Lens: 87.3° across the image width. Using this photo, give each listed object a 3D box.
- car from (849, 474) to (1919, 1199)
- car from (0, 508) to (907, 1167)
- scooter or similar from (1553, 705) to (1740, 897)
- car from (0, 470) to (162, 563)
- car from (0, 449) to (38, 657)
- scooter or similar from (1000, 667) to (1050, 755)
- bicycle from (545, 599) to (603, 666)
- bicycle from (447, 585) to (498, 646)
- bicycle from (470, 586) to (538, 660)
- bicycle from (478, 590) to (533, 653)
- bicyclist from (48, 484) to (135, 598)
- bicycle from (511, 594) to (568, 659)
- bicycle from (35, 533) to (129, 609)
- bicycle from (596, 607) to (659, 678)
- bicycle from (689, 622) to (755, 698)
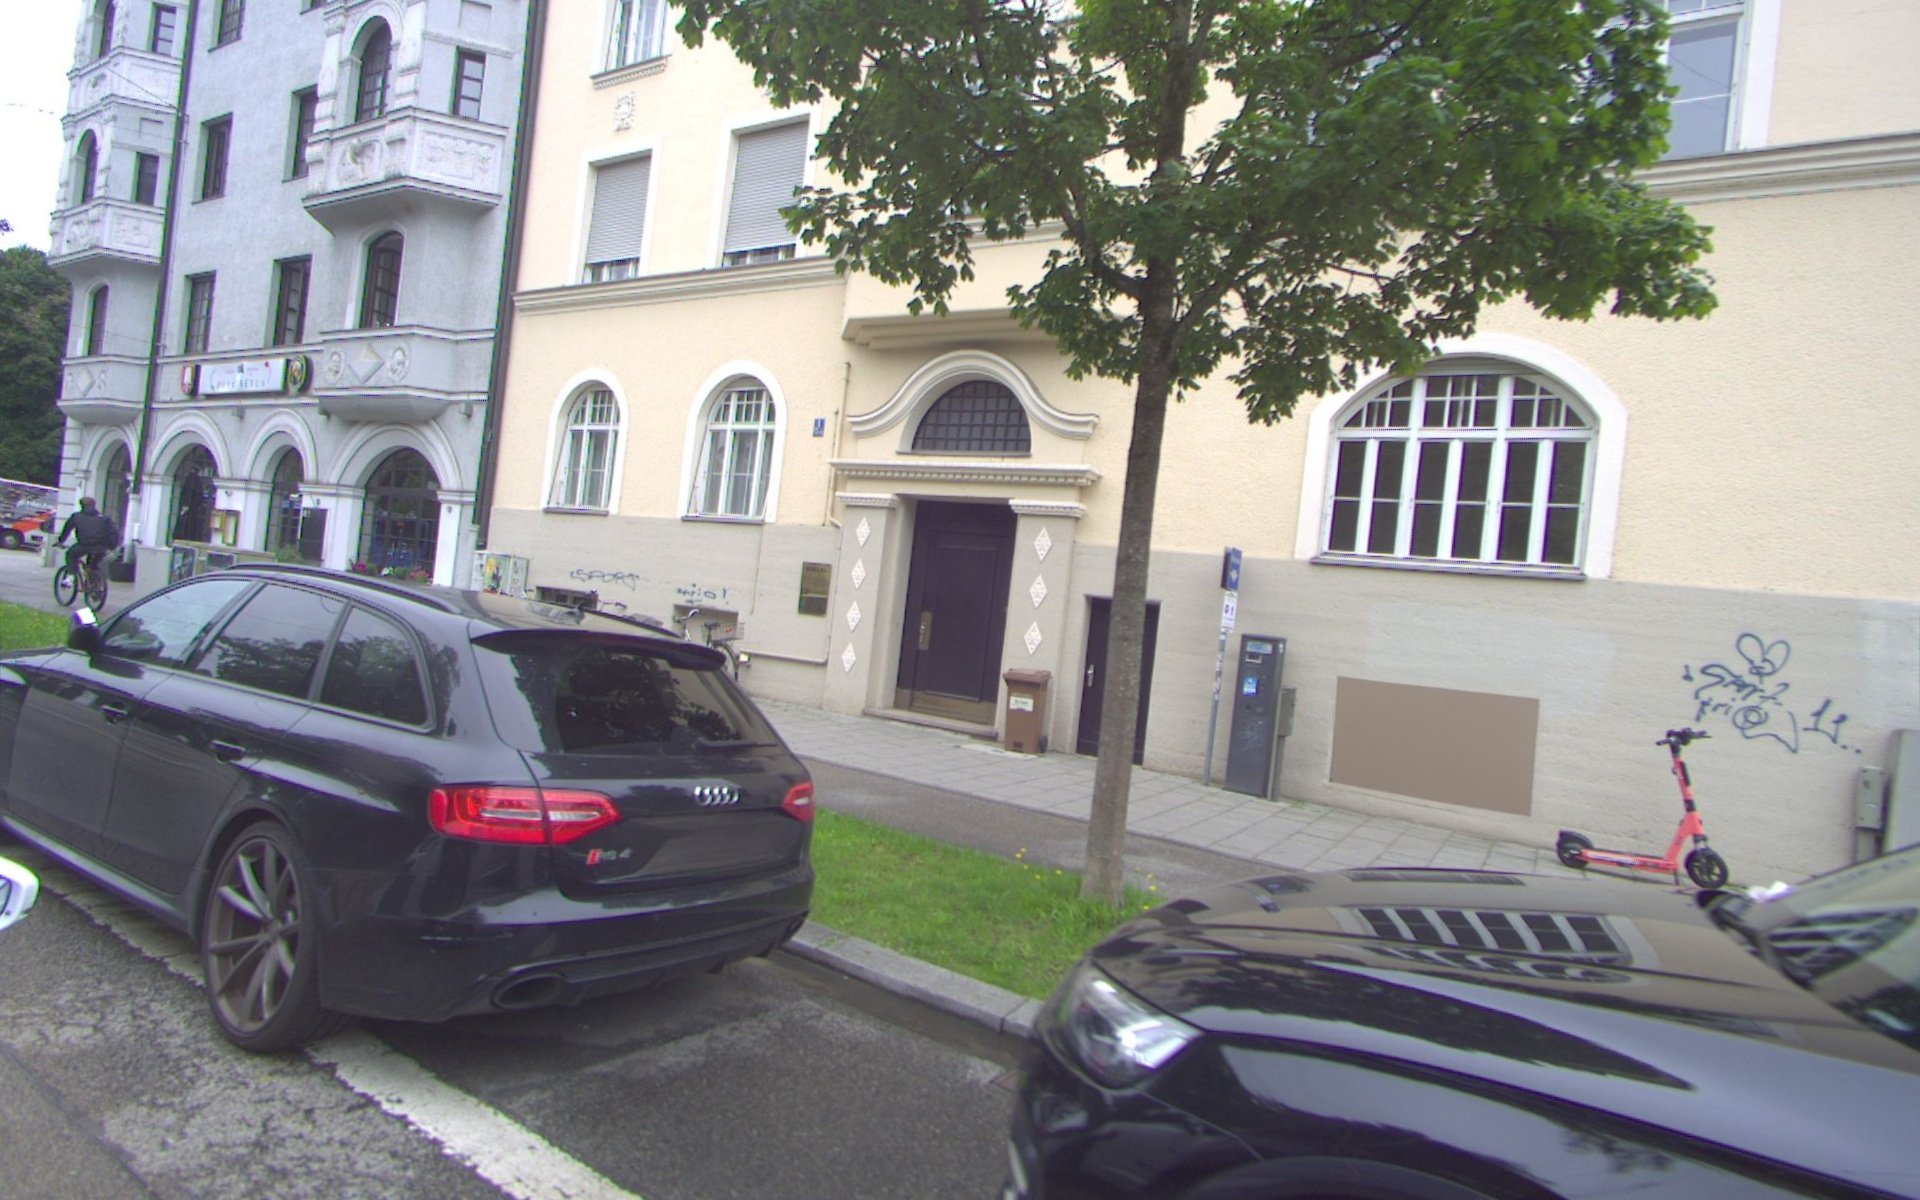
[{"bbox_3d":[2.170,0.897,1.294,4.414,1.677,1.778,6,-2,33],"label":"car"},{"bbox_3d":[-2.646,0.534,4.331,4.526,1.442,1.720,6,-3,31],"label":"car"},{"bbox_3d":[5.546,1.598,8.176,1.122,1.327,0.262,6,-2,28],"label":"scooter or similar"},{"bbox_3d":[-34.083,-3.153,38.160,2.192,2.641,5.312,6,-3,29],"label":"car"},{"bbox_3d":[-11.391,-0.735,9.888,4.726,1.927,1.919,6,-3,30],"label":"car"},{"bbox_3d":[0.732,1.239,11.333,0.413,0.921,0.348,7,-2,11],"label":"scooter or similar"},{"bbox_3d":[-5.986,0.498,15.596,0.871,0.941,0.273,6,-2,33],"label":"bicycle"},{"bbox_3d":[-8.318,0.261,17.170,0.871,0.941,0.259,6,-2,33],"label":"bicycle"},{"bbox_3d":[-7.271,0.352,16.013,1.203,1.051,0.242,6,-2,32],"label":"bicycle"},{"bbox_3d":[-7.541,0.354,16.682,0.871,0.941,0.291,6,-2,33],"label":"bicycle"},{"bbox_3d":[-14.363,-0.970,16.648,0.714,1.748,0.726,6,-2,31],"label":"bicyclist"},{"bbox_3d":[-6.759,0.419,16.154,0.871,0.941,0.306,6,-2,34],"label":"bicycle"},{"bbox_3d":[-14.632,-0.494,16.760,1.880,1.092,0.579,6,2,31],"label":"bicycle"},{"bbox_3d":[-4.910,0.629,14.850,0.871,0.941,0.286,6,-2,33],"label":"bicycle"},{"bbox_3d":[-3.286,0.827,13.888,0.871,0.941,0.222,6,-2,31],"label":"bicycle"}]
